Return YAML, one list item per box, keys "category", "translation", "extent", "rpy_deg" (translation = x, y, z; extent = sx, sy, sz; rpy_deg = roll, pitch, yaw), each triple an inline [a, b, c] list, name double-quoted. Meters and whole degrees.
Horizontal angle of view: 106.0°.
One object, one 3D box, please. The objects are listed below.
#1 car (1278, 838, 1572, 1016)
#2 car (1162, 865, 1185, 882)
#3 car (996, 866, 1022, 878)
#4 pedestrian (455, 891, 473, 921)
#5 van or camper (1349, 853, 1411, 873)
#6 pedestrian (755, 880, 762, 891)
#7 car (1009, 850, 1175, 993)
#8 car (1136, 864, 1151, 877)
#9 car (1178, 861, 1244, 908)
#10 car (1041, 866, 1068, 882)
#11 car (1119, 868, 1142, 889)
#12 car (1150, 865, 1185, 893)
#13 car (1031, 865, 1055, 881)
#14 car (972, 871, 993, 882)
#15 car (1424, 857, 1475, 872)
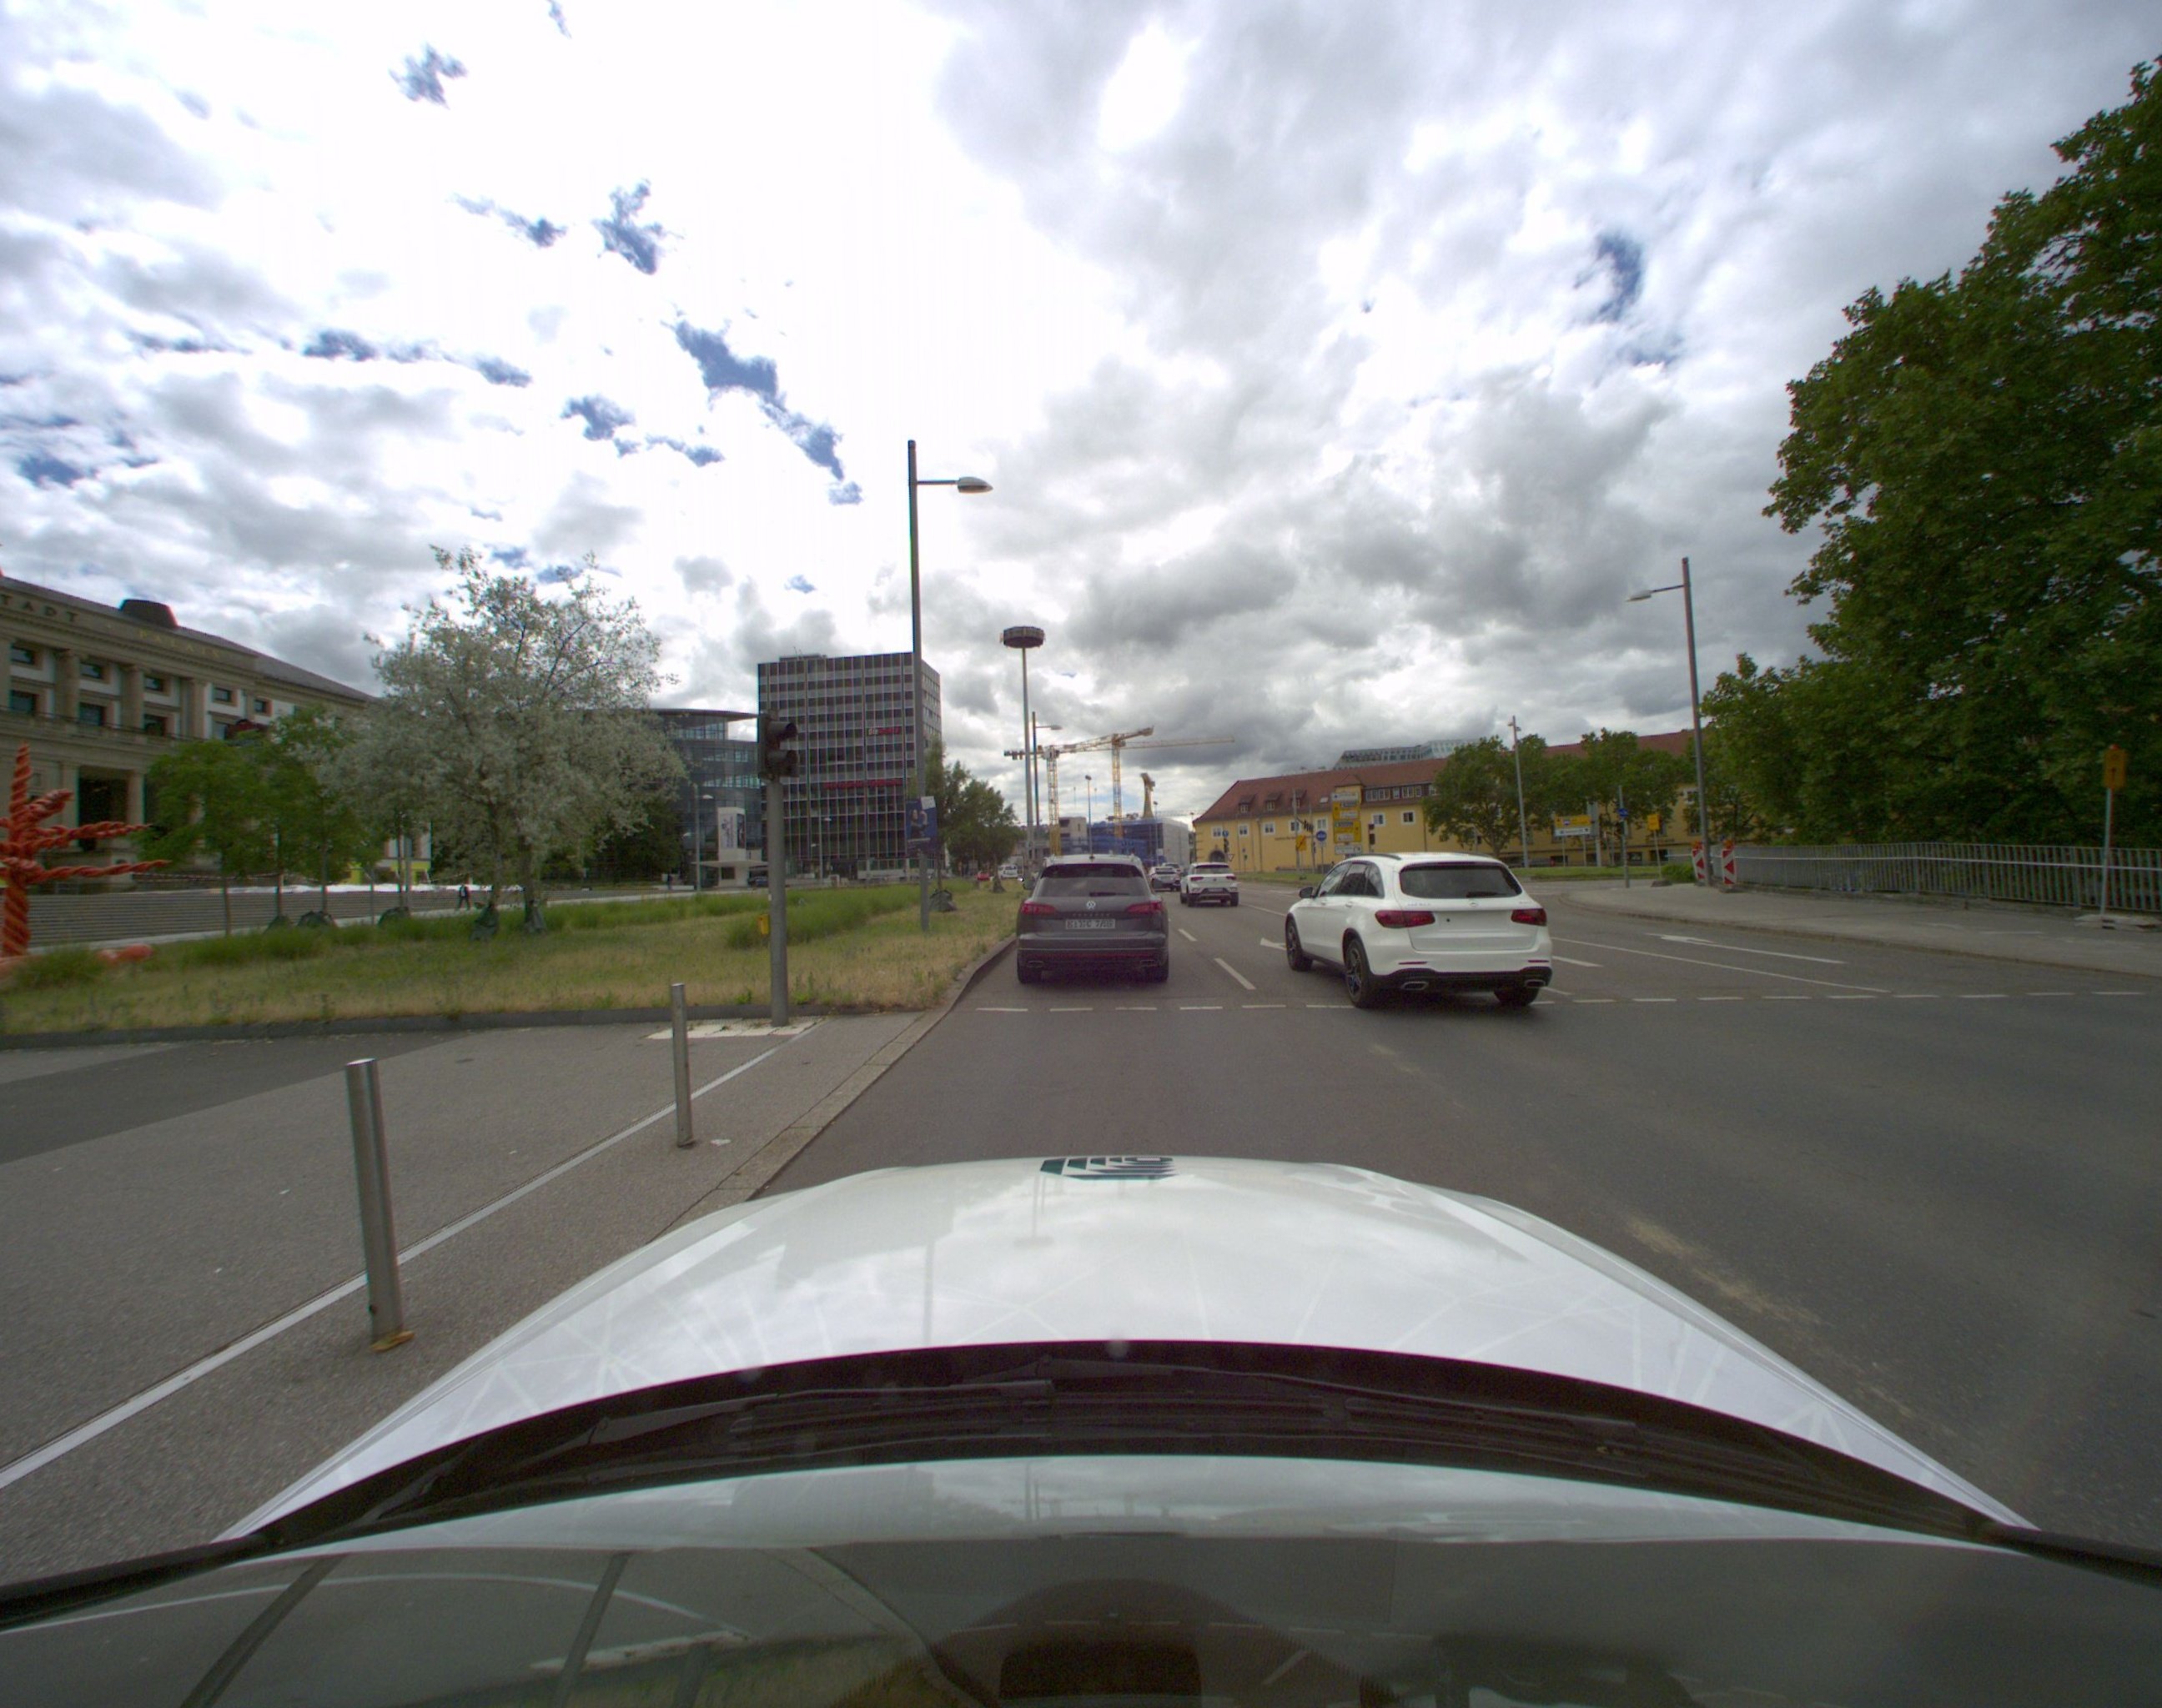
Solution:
- category: "car"
  translation: [3.782, 0.710, 9.899]
  extent: [1.812, 1.647, 4.381]
  rpy_deg: [-1, -1, 2]
- category: "car"
  translation: [8.383, 1.744, 74.314]
  extent: [1.795, 1.502, 3.984]
  rpy_deg: [-1, -1, 3]
- category: "car"
  translation: [-9.019, 2.246, 101.841]
  extent: [2.252, 1.502, 4.581]
  rpy_deg: [-1, -1, -19]
- category: "pedestrian"
  translation: [-34.682, 2.940, 45.772]
  extent: [0.522, 1.649, 0.650]
  rpy_deg: [-1, -1, 0]
- category: "van or camper"
  translation: [32.678, 0.958, 89.005]
  extent: [5.946, 2.014, 2.032]
  rpy_deg: [-3, -2, 37]
- category: "pedestrian"
  translation: [-33.695, 3.314, 84.997]
  extent: [0.473, 1.081, 0.560]
  rpy_deg: [-1, -1, 3]
- category: "car"
  translation: [0.192, 0.814, 11.635]
  extent: [1.926, 1.647, 4.001]
  rpy_deg: [-1, -1, 2]
- category: "car"
  translation: [7.603, 1.981, 98.925]
  extent: [1.712, 1.502, 3.984]
  rpy_deg: [-1, -1, 3]
- category: "car"
  translation: [4.680, 1.054, 29.721]
  extent: [1.886, 1.585, 3.802]
  rpy_deg: [-1, -1, 2]
- category: "car"
  translation: [-2.573, 1.896, 78.230]
  extent: [1.816, 1.496, 3.888]
  rpy_deg: [-1, -1, -13]
- category: "car"
  translation: [3.880, 1.899, 63.866]
  extent: [1.711, 1.502, 3.986]
  rpy_deg: [0, -1, 4]
- category: "car"
  translation: [4.902, 1.397, 46.555]
  extent: [1.712, 1.502, 4.146]
  rpy_deg: [-1, -1, 3]
- category: "car"
  translation: [-4.683, 2.281, 99.887]
  extent: [1.900, 1.610, 3.976]
  rpy_deg: [-3, 4, -19]
- category: "car"
  translation: [-13.569, 3.062, 112.356]
  extent: [1.727, 1.502, 3.948]
  rpy_deg: [-1, -1, -24]
- category: "car"
  translation: [38.377, 1.130, 84.917]
  extent: [4.632, 1.420, 1.607]
  rpy_deg: [-2, -2, 33]
